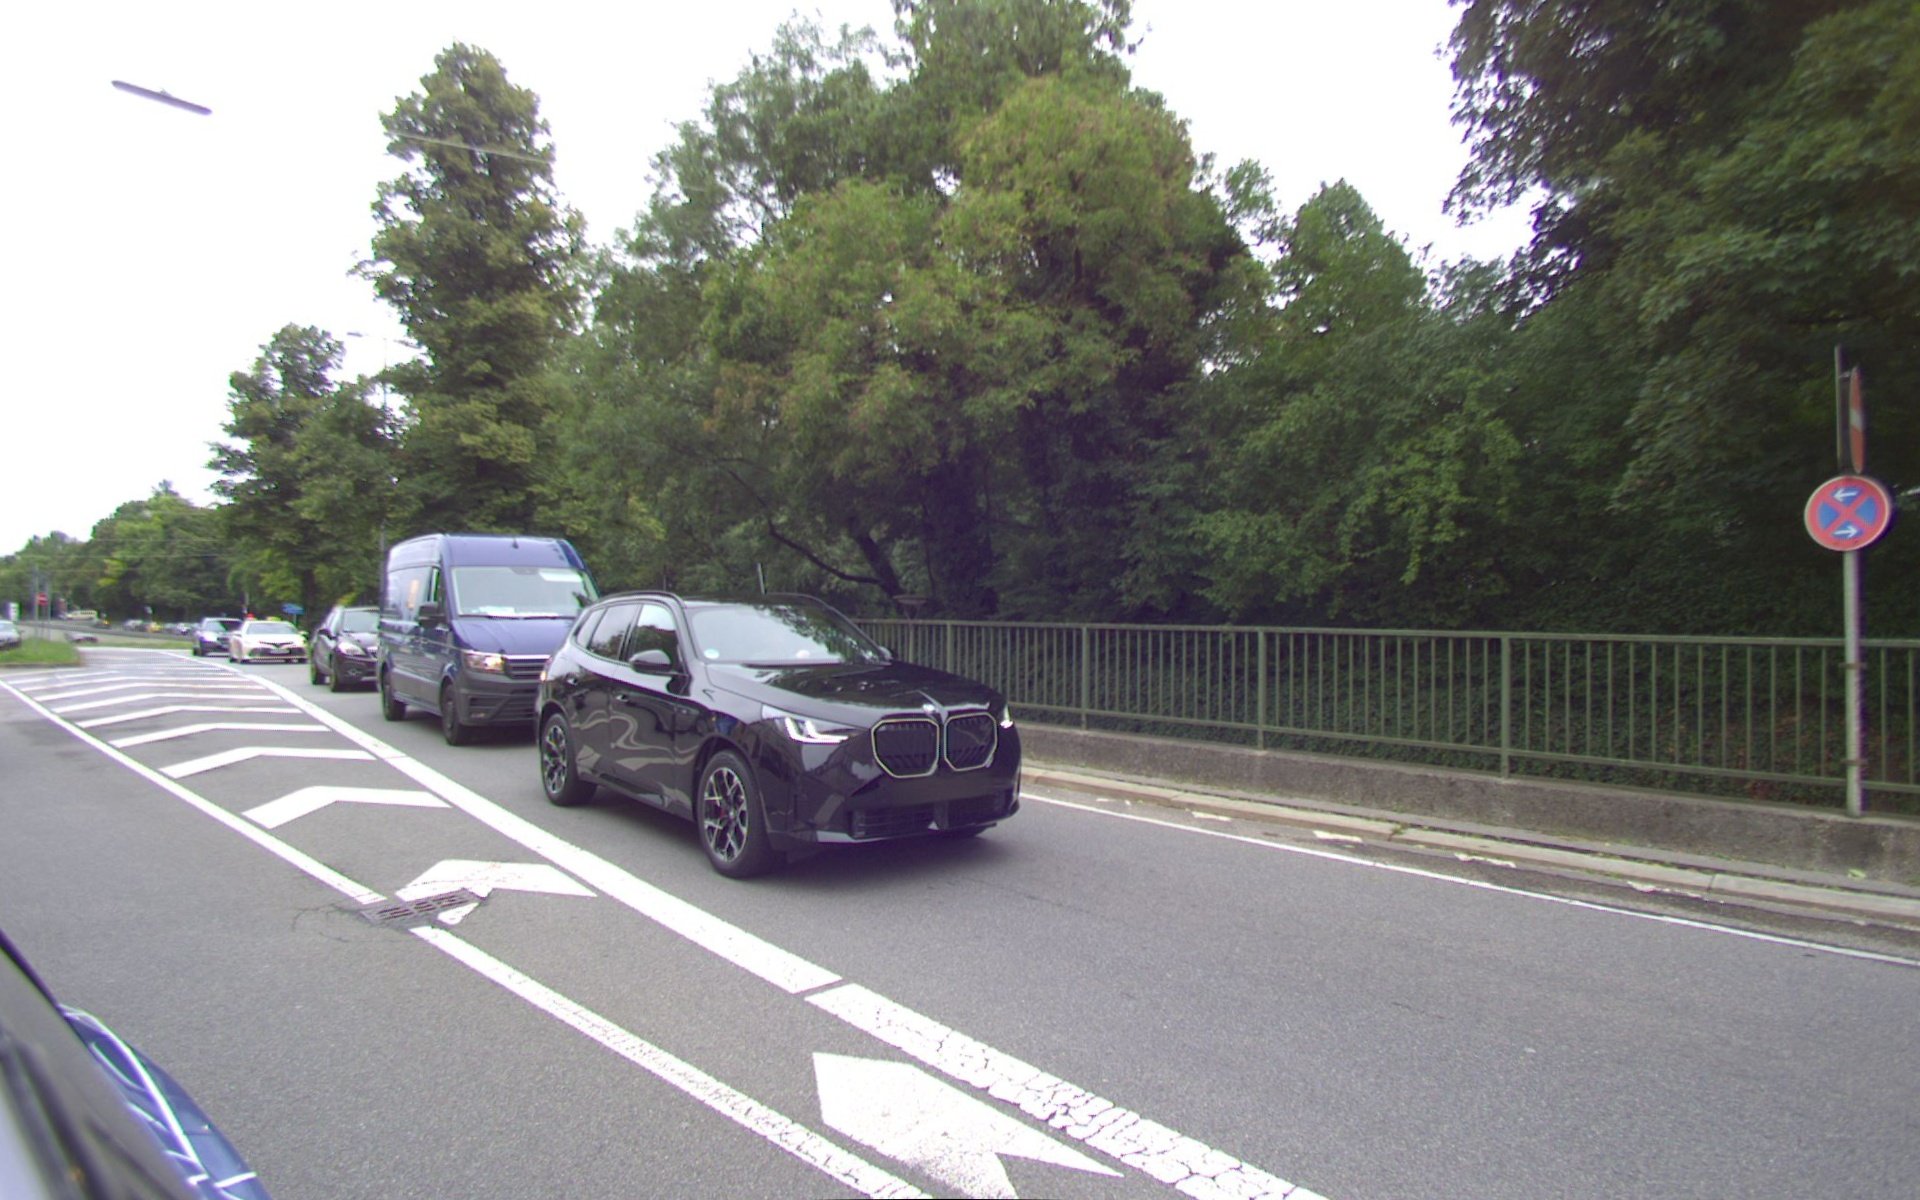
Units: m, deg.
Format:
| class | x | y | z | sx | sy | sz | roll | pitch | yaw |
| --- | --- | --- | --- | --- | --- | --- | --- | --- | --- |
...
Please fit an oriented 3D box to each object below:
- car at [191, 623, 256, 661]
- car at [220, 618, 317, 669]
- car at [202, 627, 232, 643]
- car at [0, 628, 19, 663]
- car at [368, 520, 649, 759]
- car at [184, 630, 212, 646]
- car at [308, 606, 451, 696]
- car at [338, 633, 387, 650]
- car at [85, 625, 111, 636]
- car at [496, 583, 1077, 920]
| class | x | y | z | sx | sy | sz | roll | pitch | yaw |
| --- | --- | --- | --- | --- | --- | --- | --- | --- | --- |
| car | -32.175 | 1.820 | 44.152 | 1.962 | 1.577 | 4.280 | 1 | -2 | -40 |
| car | -23.301 | 1.435 | 34.031 | 1.964 | 1.577 | 4.658 | 2 | -2 | -44 |
| car | -82.553 | 3.890 | 112.372 | 3.998 | 1.759 | 1.860 | -1 | -2 | 41 |
| car | -45.274 | 2.095 | 47.260 | 1.876 | 1.577 | 4.775 | 2 | -2 | -43 |
| car | -6.254 | 0.445 | 13.506 | 2.155 | 2.482 | 5.865 | 1 | -1 | -37 |
| car | -88.668 | 4.381 | 117.735 | 3.998 | 1.759 | 1.842 | -1 | -2 | 41 |
| car | -11.997 | 0.995 | 20.778 | 1.961 | 1.640 | 4.282 | 1 | -2 | -38 |
| car | -50.693 | 3.525 | 85.847 | 4.518 | 1.457 | 1.975 | -1 | -3 | 38 |
| car | -118.487 | 4.210 | 139.086 | 4.025 | 1.457 | 1.874 | -2 | -3 | 36 |
| car | -1.592 | 0.727 | 7.254 | 1.889 | 1.598 | 4.837 | 0 | 0 | -41 |
